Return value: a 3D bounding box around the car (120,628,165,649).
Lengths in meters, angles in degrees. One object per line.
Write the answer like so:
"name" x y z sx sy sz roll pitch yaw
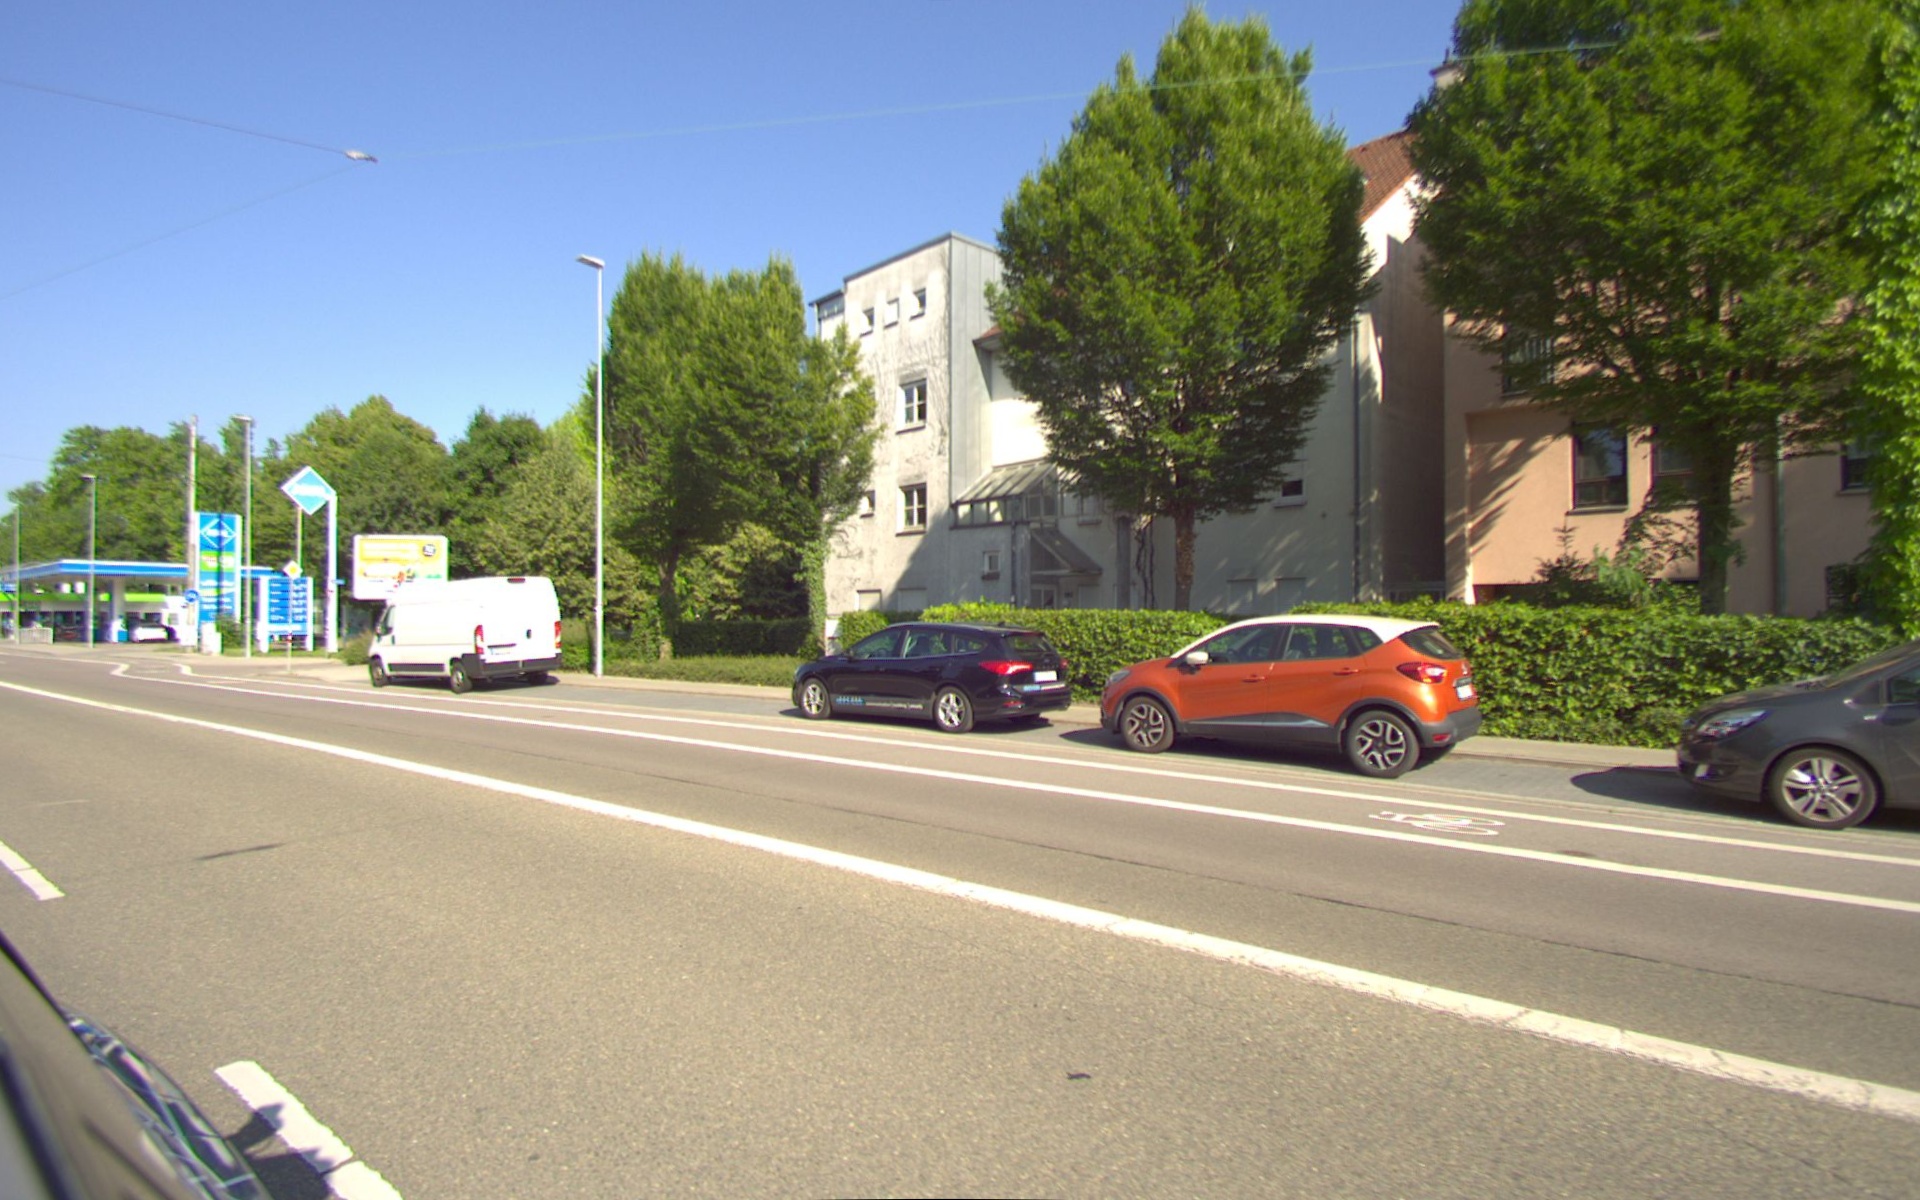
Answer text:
"car" -60.684 2.853 75.086 4.269 1.502 1.720 -1 -2 39

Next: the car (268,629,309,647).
"car" -54.256 3.076 81.799 3.997 1.457 1.719 -2 -2 41

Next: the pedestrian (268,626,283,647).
"pedestrian" -54.548 2.900 80.644 0.794 1.703 0.808 -2 -3 37

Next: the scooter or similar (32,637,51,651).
"scooter or similar" -76.262 3.624 84.030 1.127 1.125 0.351 2 -3 -43

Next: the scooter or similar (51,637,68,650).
"scooter or similar" -75.516 3.641 84.850 0.350 1.118 1.017 -2 -3 44

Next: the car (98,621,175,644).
"car" -71.905 2.807 88.406 1.857 1.955 5.017 -2 -3 42

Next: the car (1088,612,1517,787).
"car" 3.639 0.929 11.182 4.159 1.586 1.744 -1 -1 40

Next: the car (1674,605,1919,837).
"car" 7.871 0.846 7.372 4.292 1.585 1.746 -1 1 38

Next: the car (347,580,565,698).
"car" -12.156 0.881 24.200 6.174 2.476 2.132 -2 0 37

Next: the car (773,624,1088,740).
"car" -0.573 1.091 14.733 4.709 1.435 1.635 -2 -2 40
